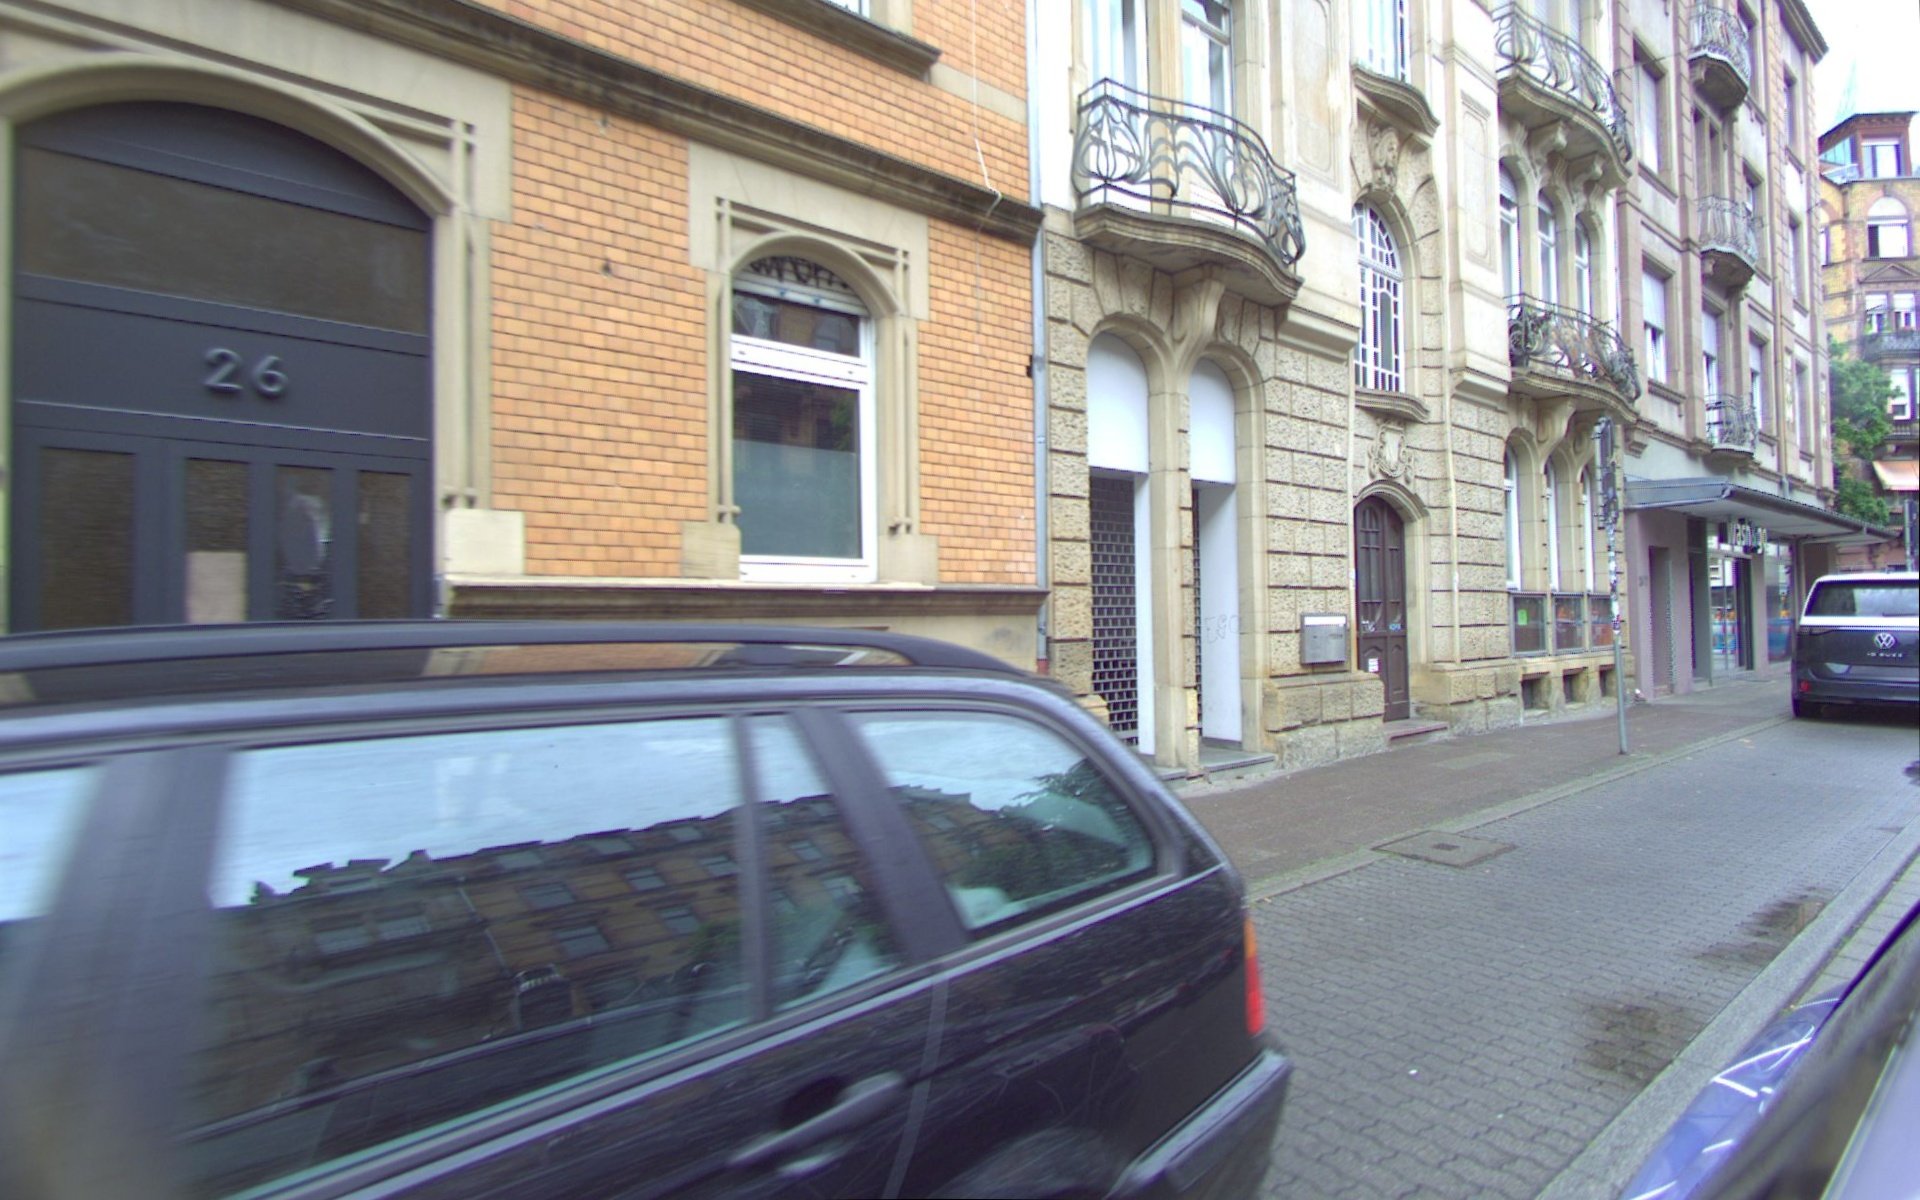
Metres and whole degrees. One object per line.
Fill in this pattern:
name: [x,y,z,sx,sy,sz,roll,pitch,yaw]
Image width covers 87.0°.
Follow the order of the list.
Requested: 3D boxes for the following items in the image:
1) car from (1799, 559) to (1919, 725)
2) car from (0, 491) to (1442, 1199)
car: [13.135,0.474,13.789,5.142,1.963,1.996,0,0,-43]
car: [-1.339,0.693,1.259,4.405,1.485,1.790,-3,0,-40]
